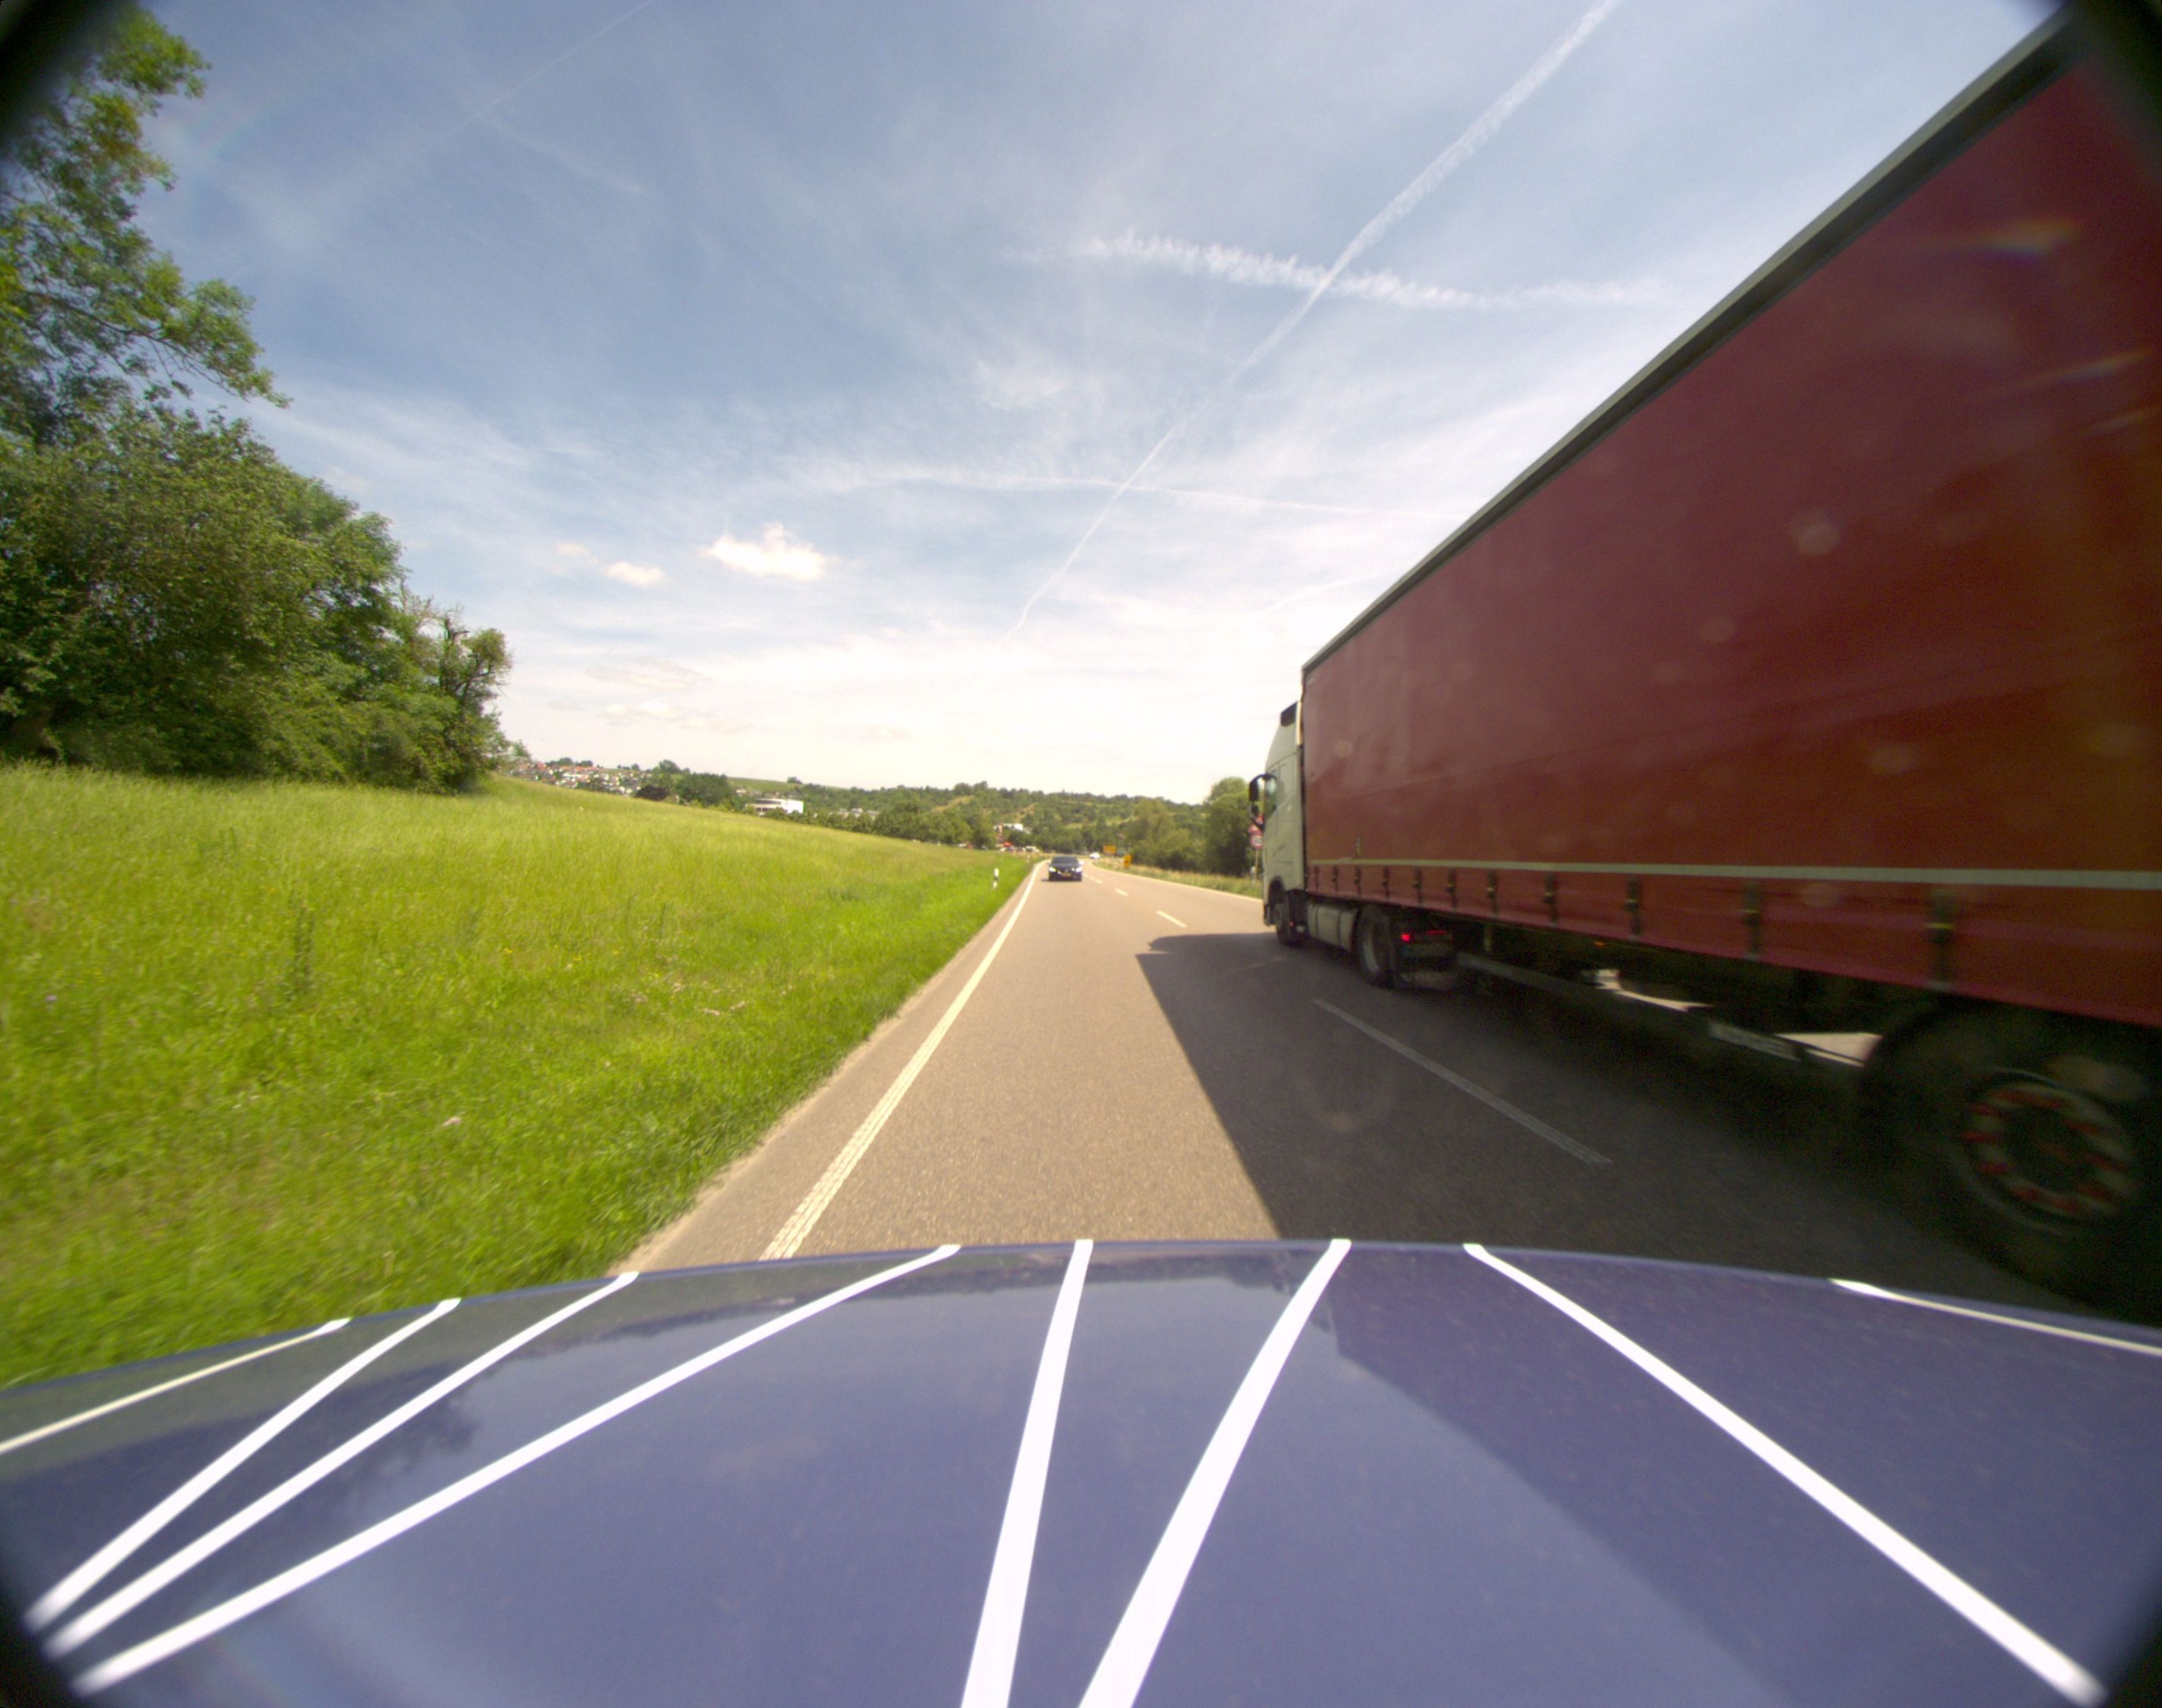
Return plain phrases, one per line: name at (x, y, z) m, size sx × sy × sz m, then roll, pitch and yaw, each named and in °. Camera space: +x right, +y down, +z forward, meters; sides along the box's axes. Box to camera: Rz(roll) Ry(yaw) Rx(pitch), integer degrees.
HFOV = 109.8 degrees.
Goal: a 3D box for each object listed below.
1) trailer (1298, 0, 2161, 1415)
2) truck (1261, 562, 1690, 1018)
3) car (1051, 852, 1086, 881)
trailer at (4.198, -0.556, 3.649) m, size 2.575 × 4.084 × 13.662 m, roll -1°, pitch 0°, yaw 1°
truck at (4.275, -0.576, 9.797) m, size 2.565 × 4.091 × 5.799 m, roll -1°, pitch 0°, yaw 1°
car at (-0.754, 0.632, 42.410) m, size 1.786 × 1.440 × 4.602 m, roll -1°, pitch 1°, yaw -3°
